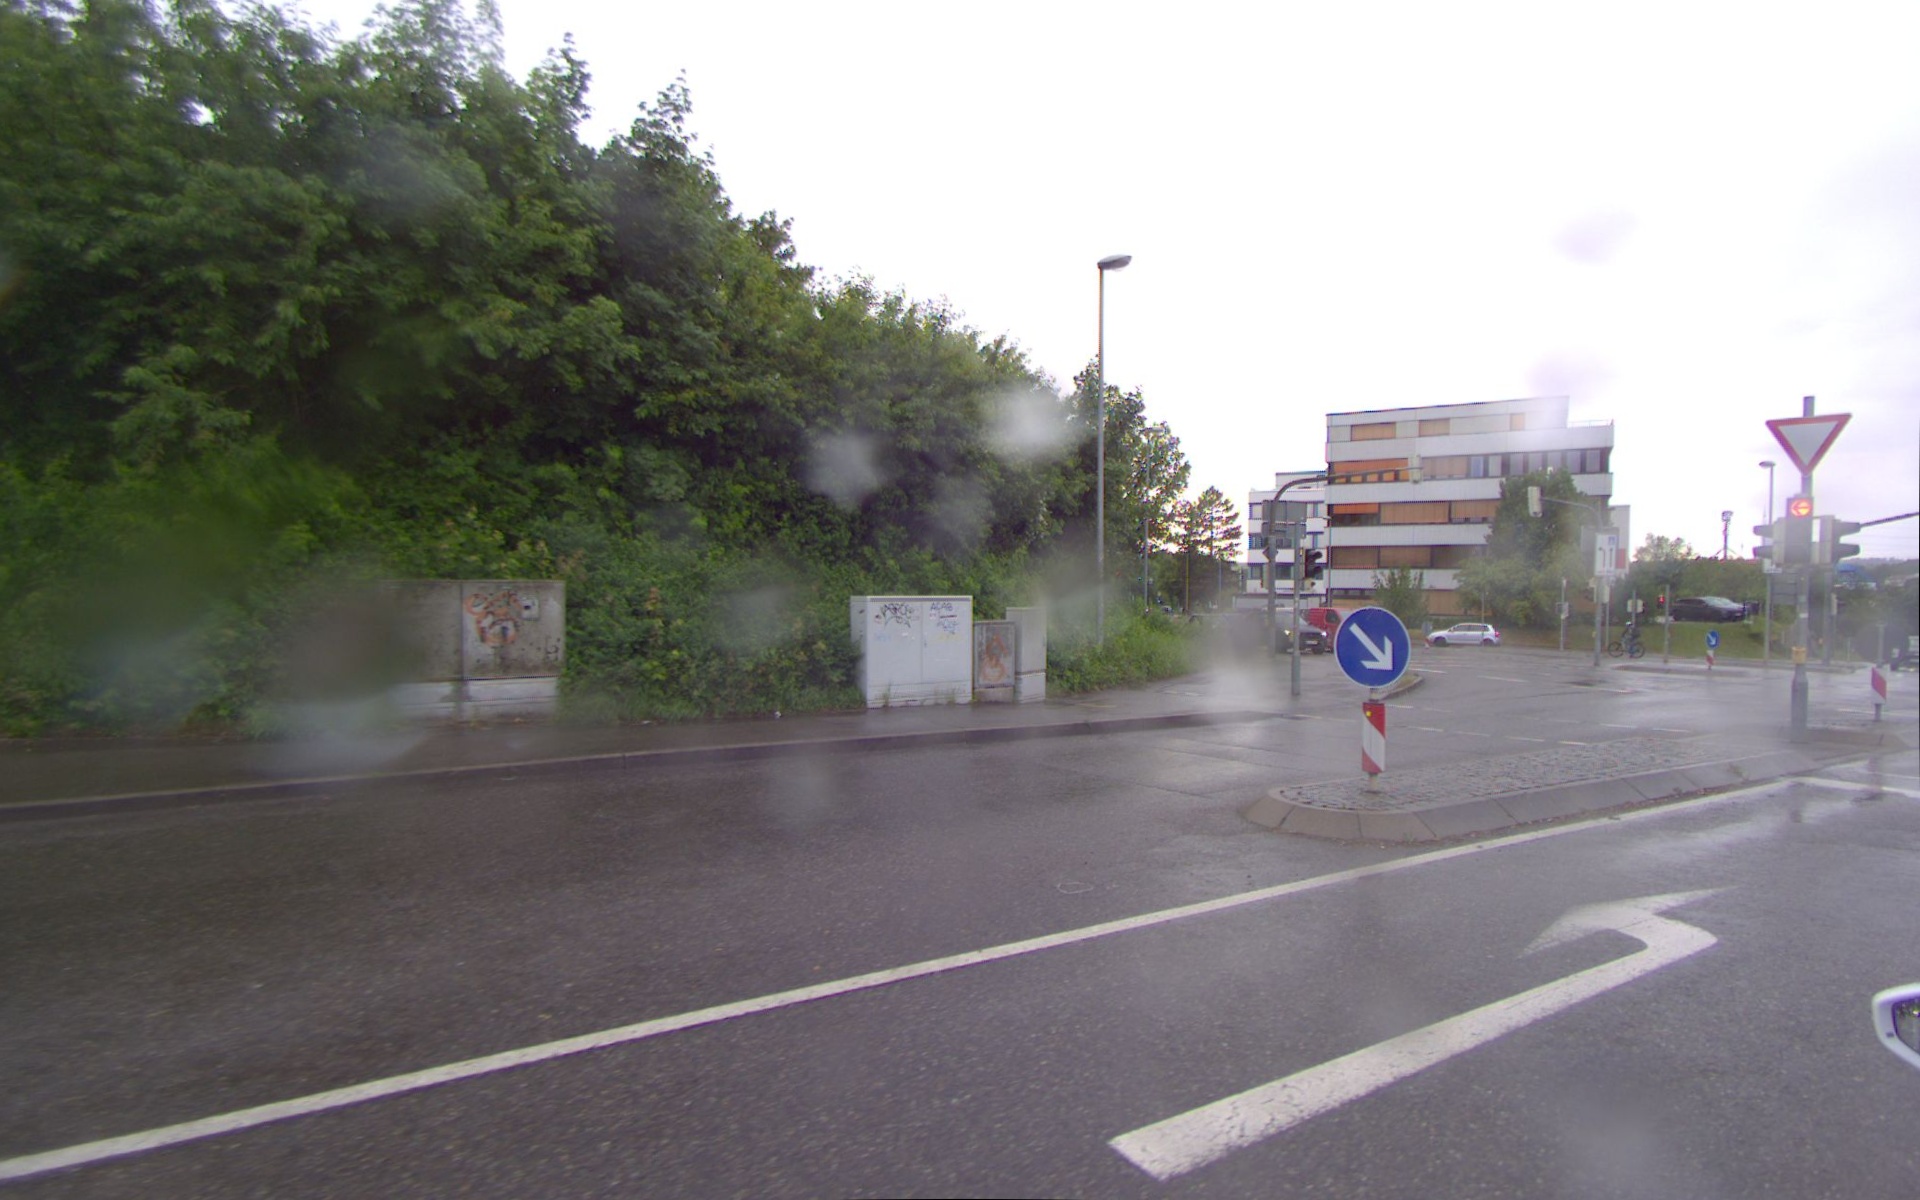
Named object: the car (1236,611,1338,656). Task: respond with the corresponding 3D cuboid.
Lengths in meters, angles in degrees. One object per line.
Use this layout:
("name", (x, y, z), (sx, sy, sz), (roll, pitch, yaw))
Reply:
("car", (13.200, 1.328, 40.842), (1.998, 1.701, 4.624), (1, -1, -10))

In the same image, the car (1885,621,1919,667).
("car", (41.610, 1.915, 43.676), (1.972, 1.920, 3.977), (2, -1, 43))

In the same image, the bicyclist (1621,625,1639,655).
("bicyclist", (32.832, 1.949, 49.196), (0.597, 1.465, 0.540), (1, 0, -35))

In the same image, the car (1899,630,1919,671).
("car", (47.270, 2.450, 48.728), (3.966, 1.920, 1.978), (1, 0, -39))

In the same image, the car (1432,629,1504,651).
("car", (29.000, 2.266, 57.316), (3.458, 1.120, 1.815), (1, 0, 35))

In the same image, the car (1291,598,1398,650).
("car", (16.056, 0.961, 42.279), (1.965, 2.040, 4.777), (1, 0, -11))

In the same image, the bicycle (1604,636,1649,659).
("bicycle", (32.728, 2.331, 49.347), (0.603, 1.066, 1.763), (1, 0, -34))

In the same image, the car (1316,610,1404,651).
("car", (18.155, 1.362, 45.832), (1.964, 1.706, 3.994), (1, 0, -9))

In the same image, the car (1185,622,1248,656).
("car", (11.927, 1.803, 46.937), (1.651, 1.405, 3.455), (1, 0, -9))

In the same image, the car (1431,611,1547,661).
("car", (21.586, 1.413, 41.187), (1.965, 1.865, 4.145), (1, 0, -12))
